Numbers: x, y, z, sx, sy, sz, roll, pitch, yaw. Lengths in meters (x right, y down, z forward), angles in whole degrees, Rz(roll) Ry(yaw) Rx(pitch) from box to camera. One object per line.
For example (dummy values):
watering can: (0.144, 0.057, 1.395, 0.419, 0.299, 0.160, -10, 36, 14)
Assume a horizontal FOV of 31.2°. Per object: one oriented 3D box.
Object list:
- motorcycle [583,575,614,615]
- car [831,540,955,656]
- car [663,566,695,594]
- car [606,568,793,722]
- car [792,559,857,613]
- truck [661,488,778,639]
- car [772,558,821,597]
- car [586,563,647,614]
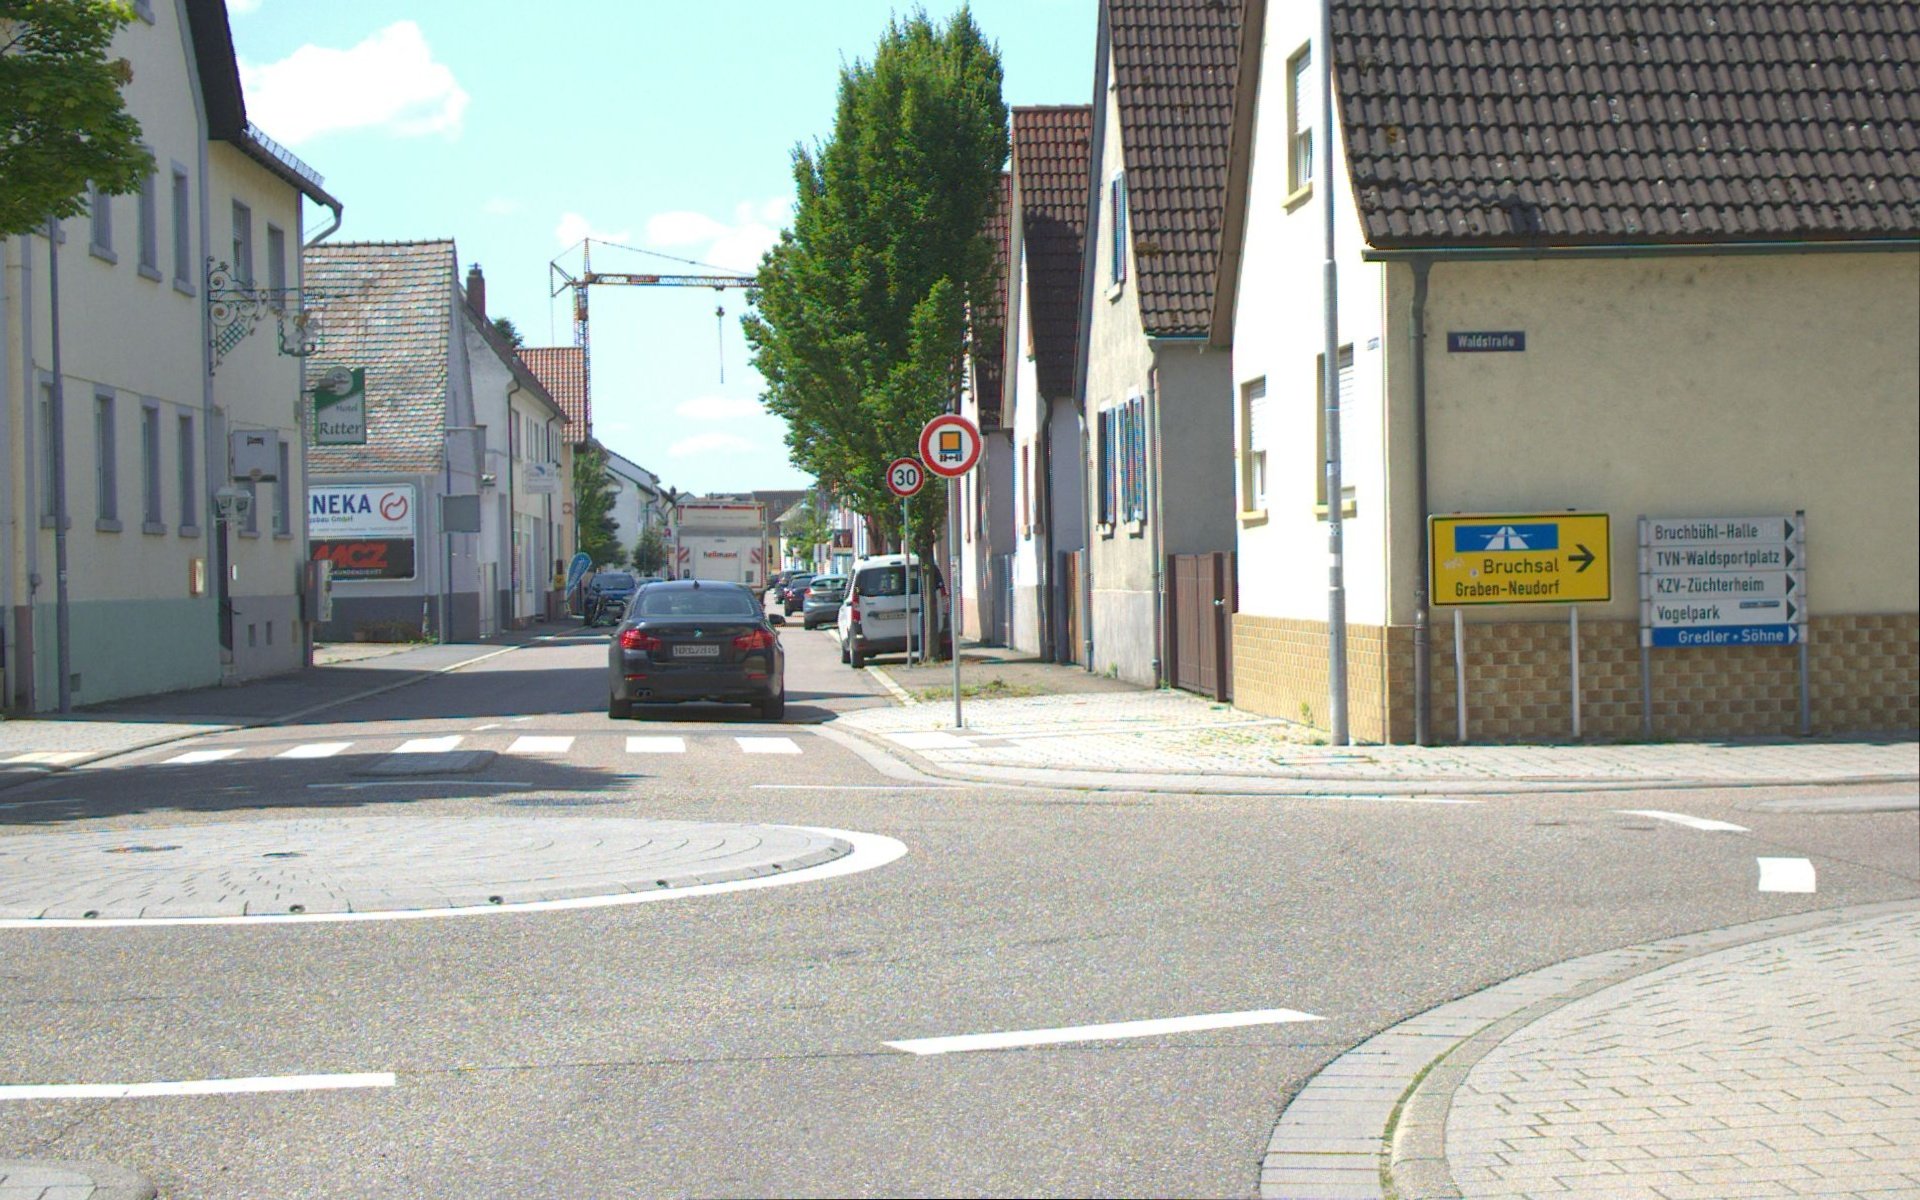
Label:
motorcycle: (-10.971, -0.150, 104.368, 0.846, 1.166, 2.469, 1, 0, -5)
car: (-1.157, -0.052, 57.506, 1.719, 1.784, 4.144, -3, 1, -5)
car: (-16.587, -1.184, 203.188, 1.809, 1.583, 4.001, -1, 1, -4)
car: (-2.913, 0.439, 37.627, 1.902, 1.558, 4.477, -1, 1, -6)
car: (-3.698, -0.397, 94.216, 1.719, 1.456, 4.157, -1, 1, -2)
truck: (-7.069, -1.045, 102.111, 3.144, 4.236, 9.303, 1, 0, -2)
car: (-5.848, -0.821, 122.598, 1.719, 1.350, 4.157, -1, 1, -3)
car: (-10.803, -0.374, 108.286, 1.809, 1.583, 4.001, -1, 1, -4)
